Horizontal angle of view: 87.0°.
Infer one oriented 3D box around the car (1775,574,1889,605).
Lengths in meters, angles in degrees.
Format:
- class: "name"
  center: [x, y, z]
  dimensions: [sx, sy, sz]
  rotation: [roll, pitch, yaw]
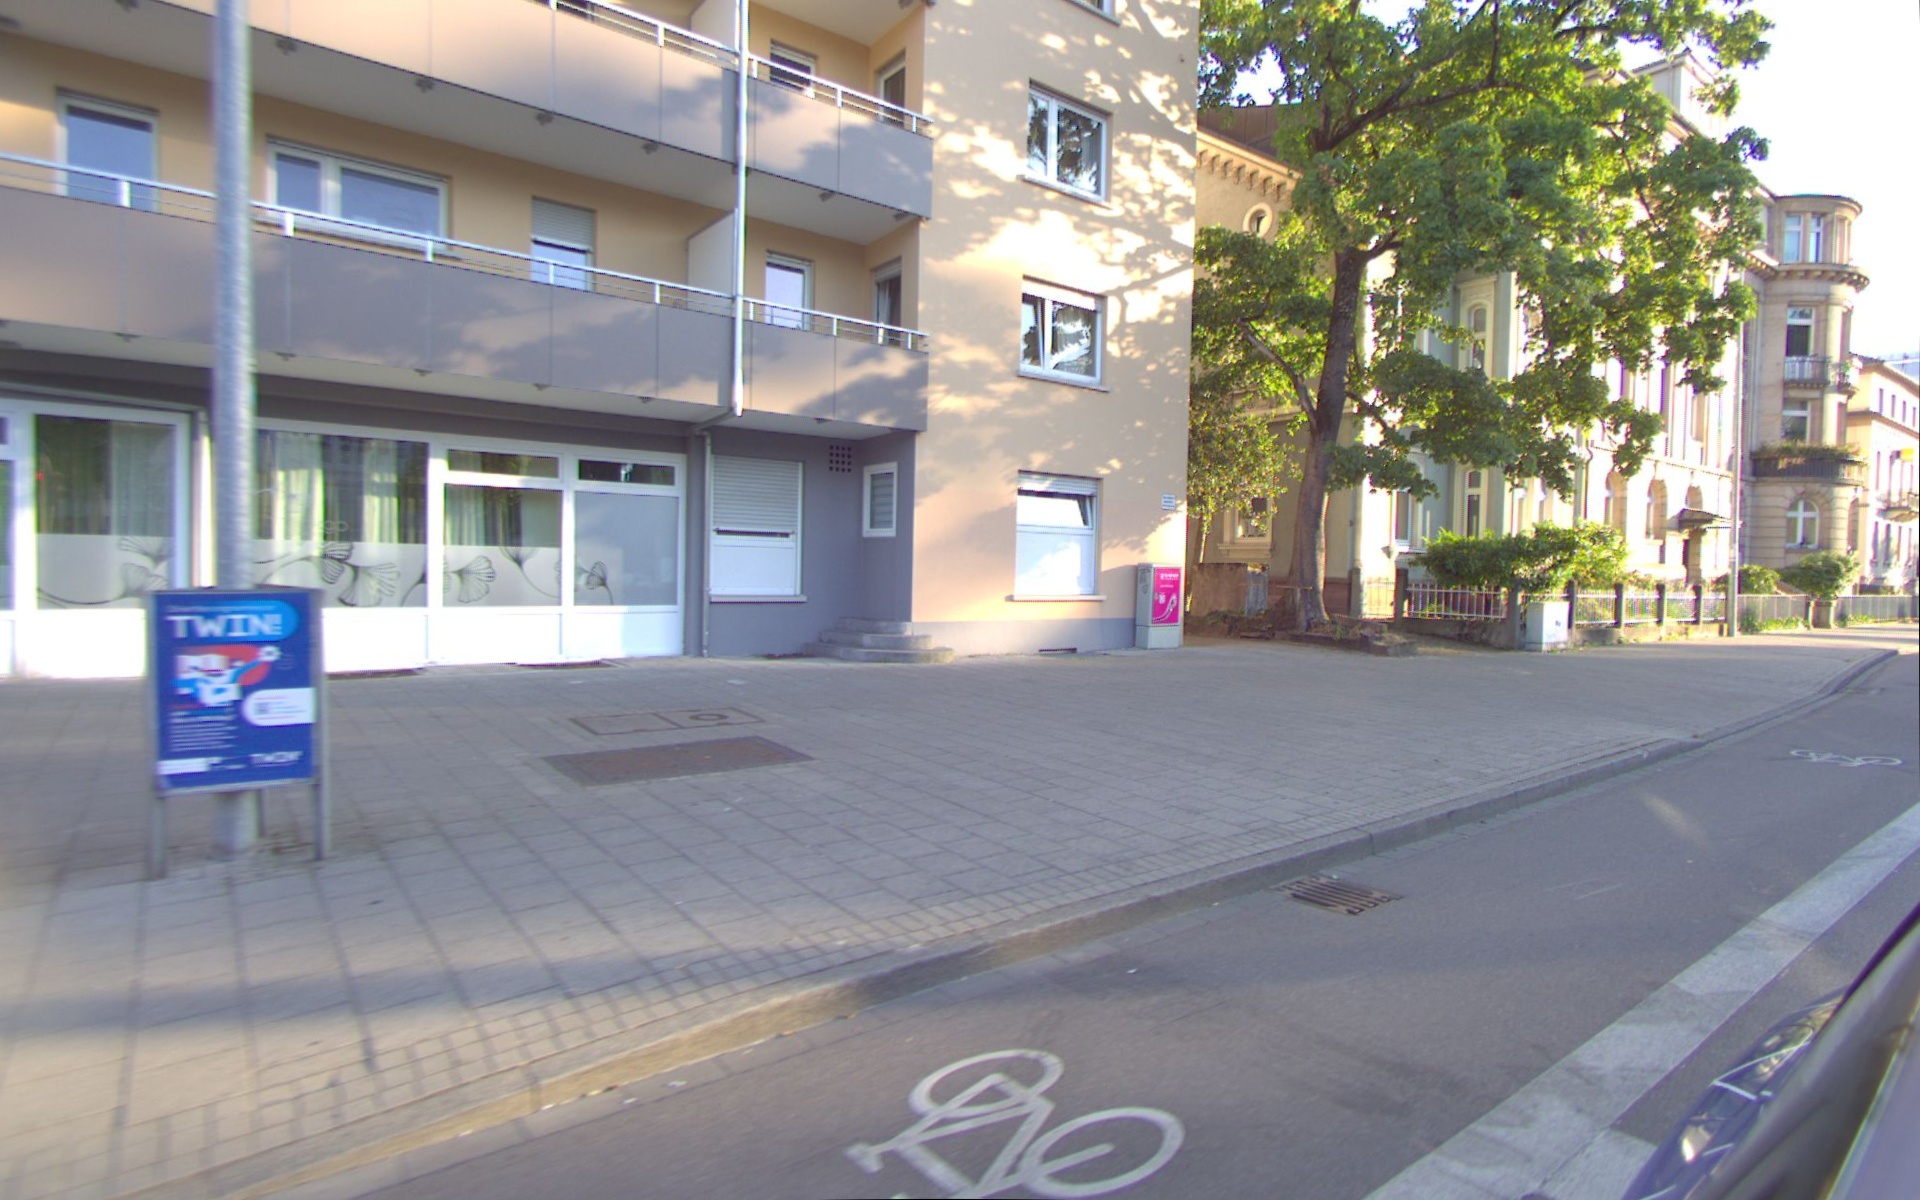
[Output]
- class: "car"
  center: [44.431, -0.567, 51.615]
  dimensions: [1.902, 1.499, 4.099]
  rotation: [0, 2, -37]
